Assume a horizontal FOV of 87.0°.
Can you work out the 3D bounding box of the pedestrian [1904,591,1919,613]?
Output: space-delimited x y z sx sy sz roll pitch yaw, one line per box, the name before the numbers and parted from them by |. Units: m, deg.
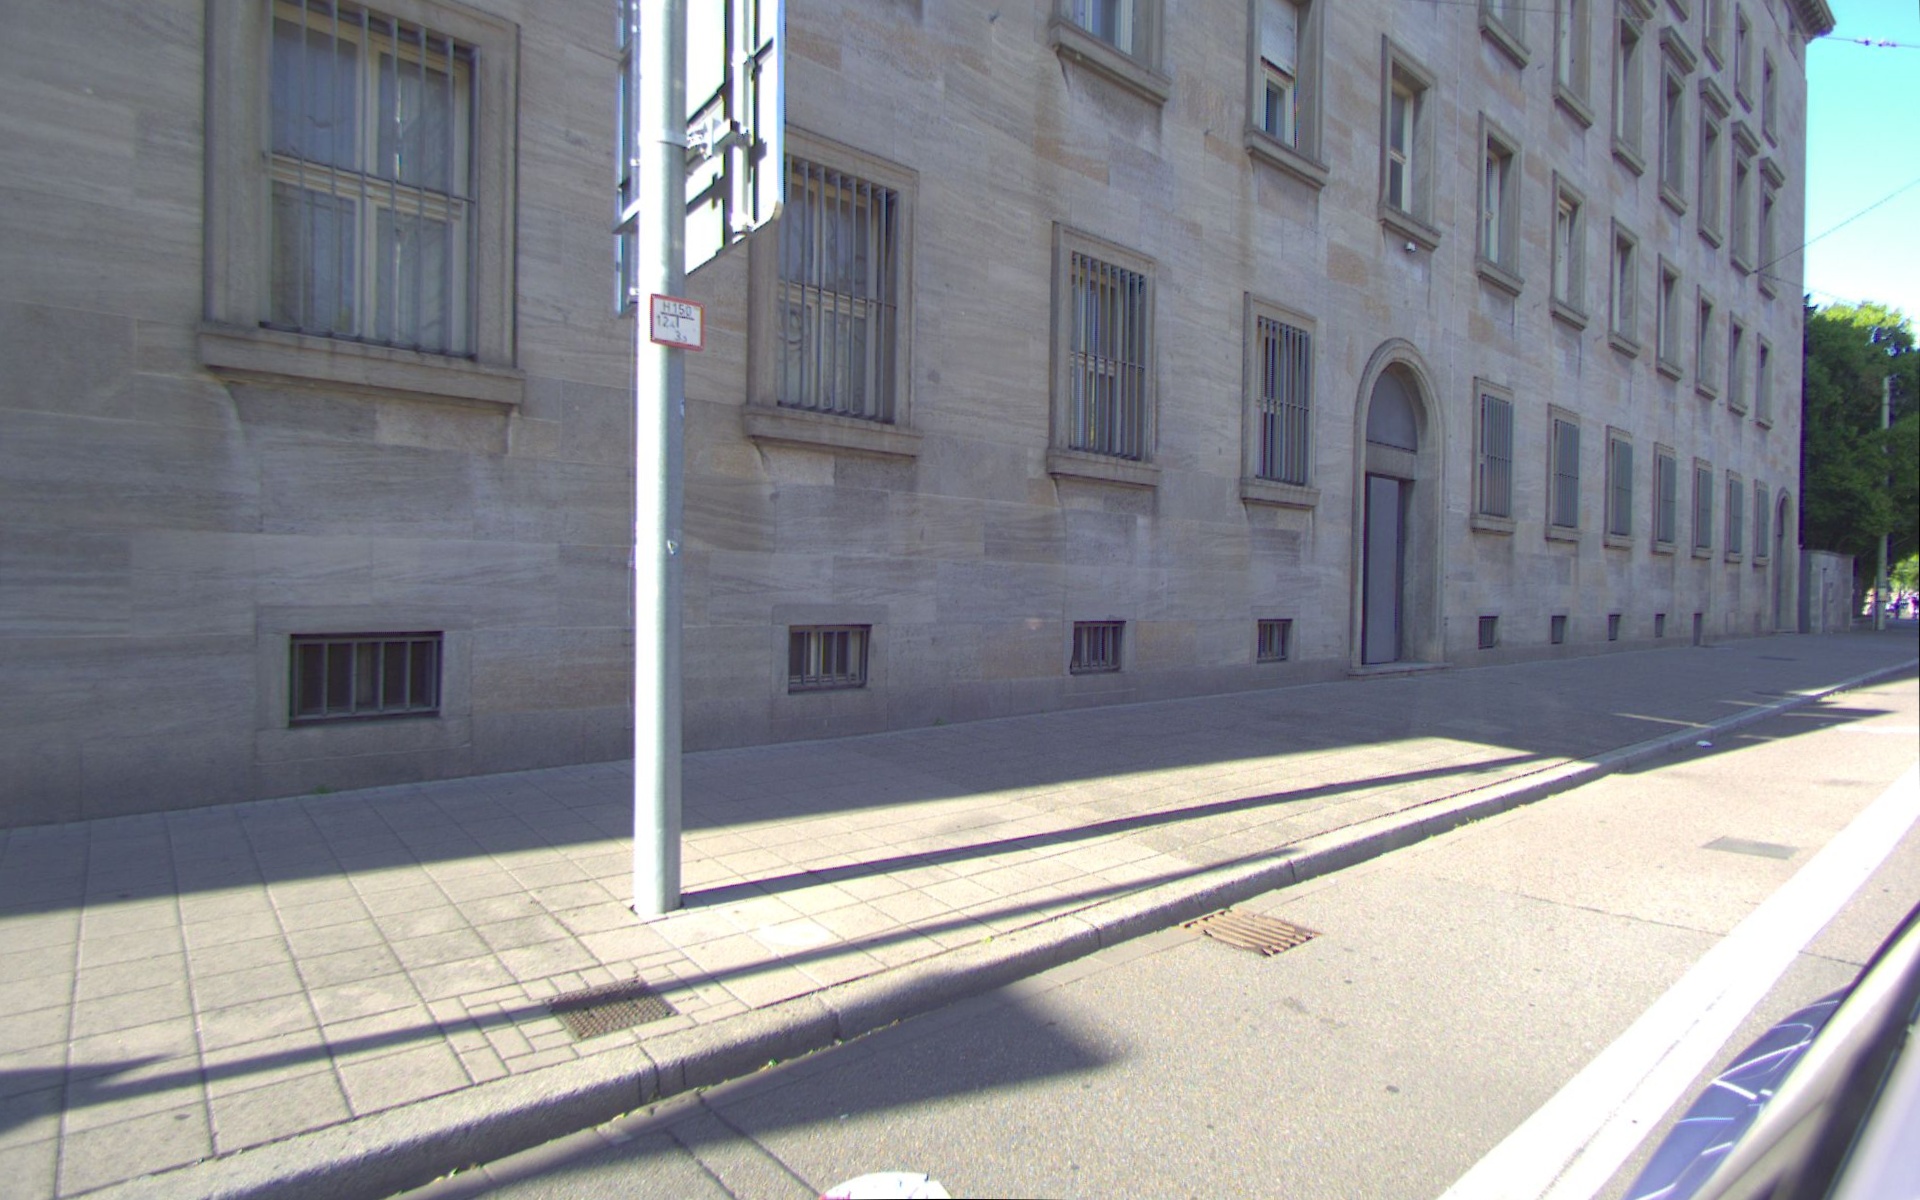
pedestrian | 78.909 0.165 83.931 0.828 1.742 0.792 1 1 43
